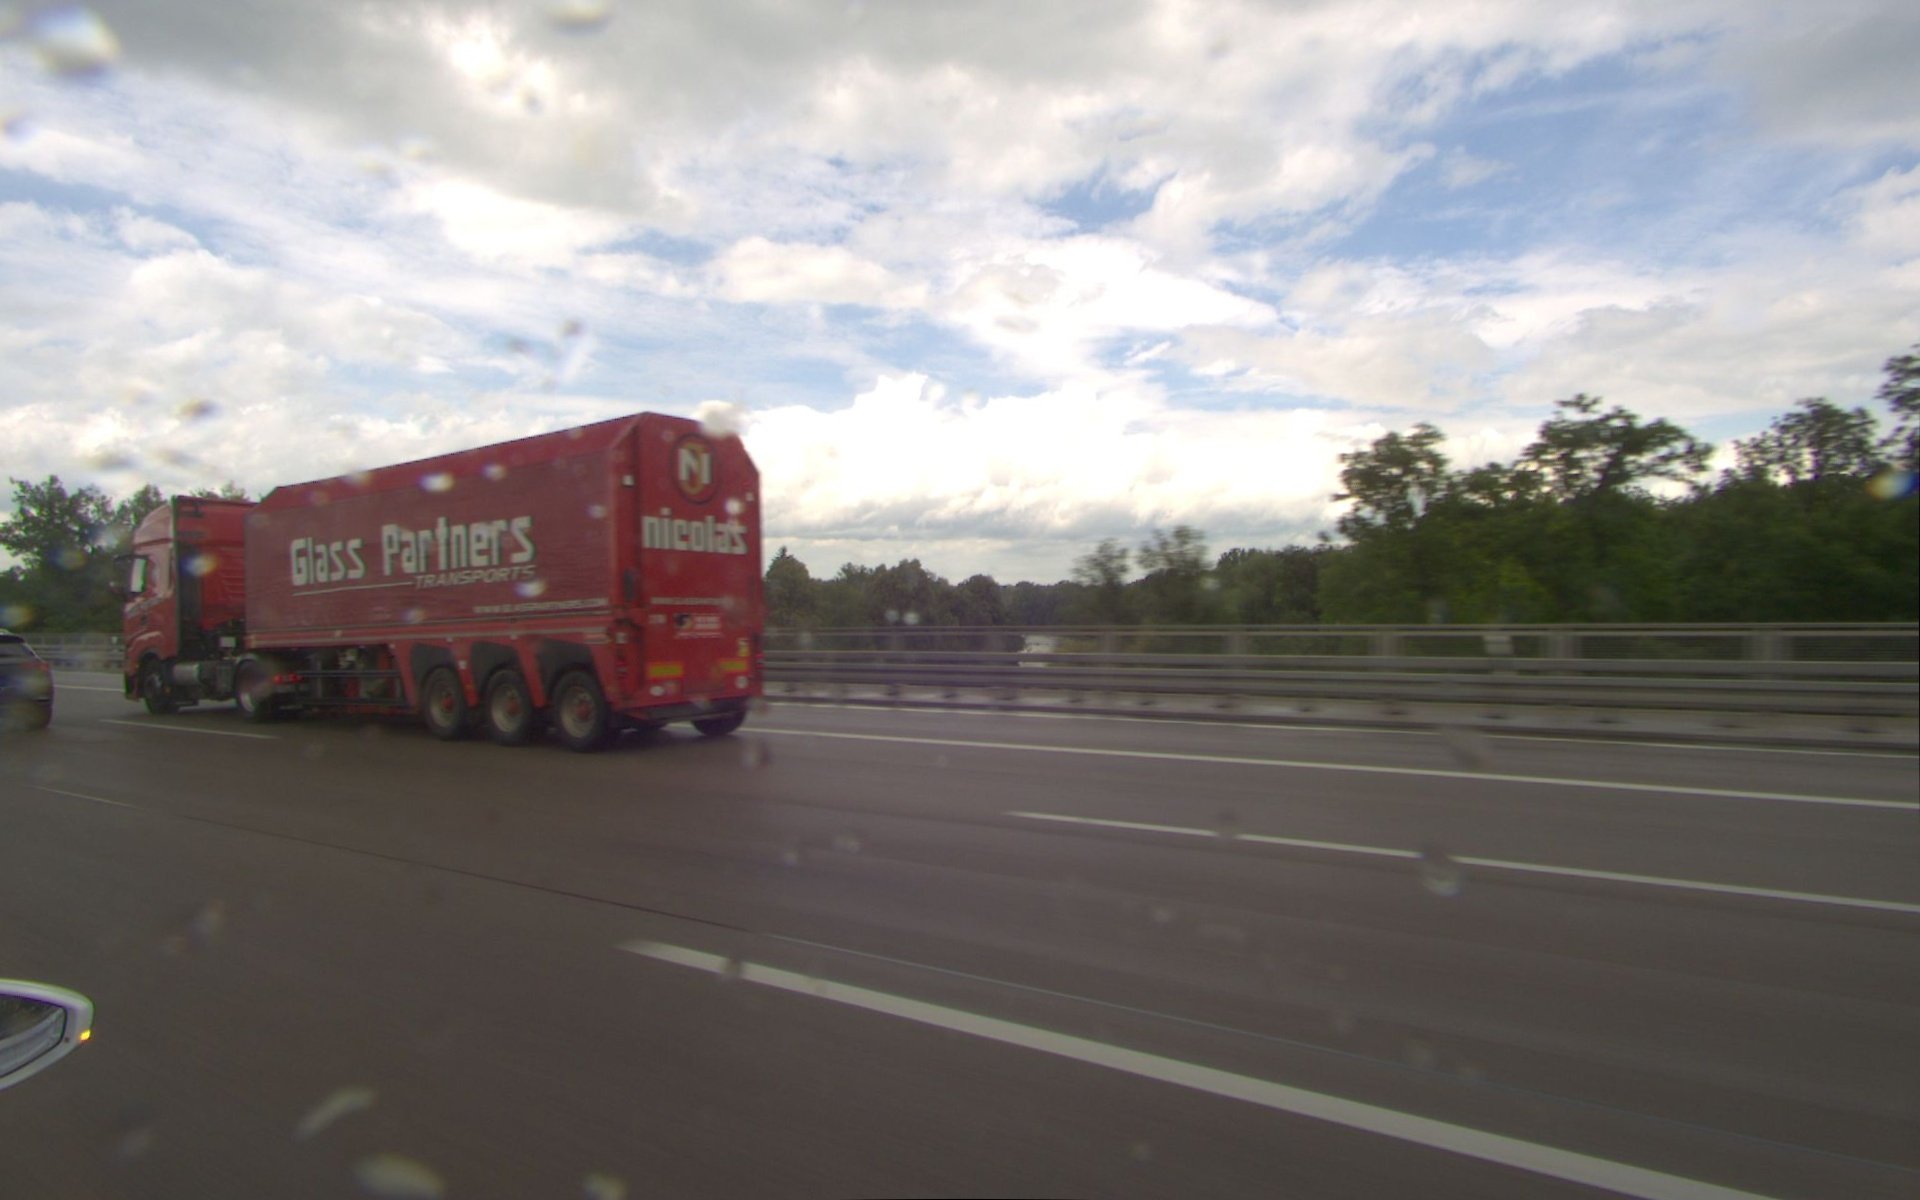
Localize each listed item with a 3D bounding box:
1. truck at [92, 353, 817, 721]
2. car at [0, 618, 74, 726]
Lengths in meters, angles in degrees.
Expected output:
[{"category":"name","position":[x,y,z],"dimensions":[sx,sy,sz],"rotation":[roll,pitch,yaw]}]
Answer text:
[{"category":"truck","position":[-9.309,-0.590,16.473],"dimensions":[15.411,4.056,3.147],"rotation":[-1,-1,32]},{"category":"car","position":[-15.774,1.099,15.745],"dimensions":[3.668,1.582,1.789],"rotation":[-1,-1,32]}]
